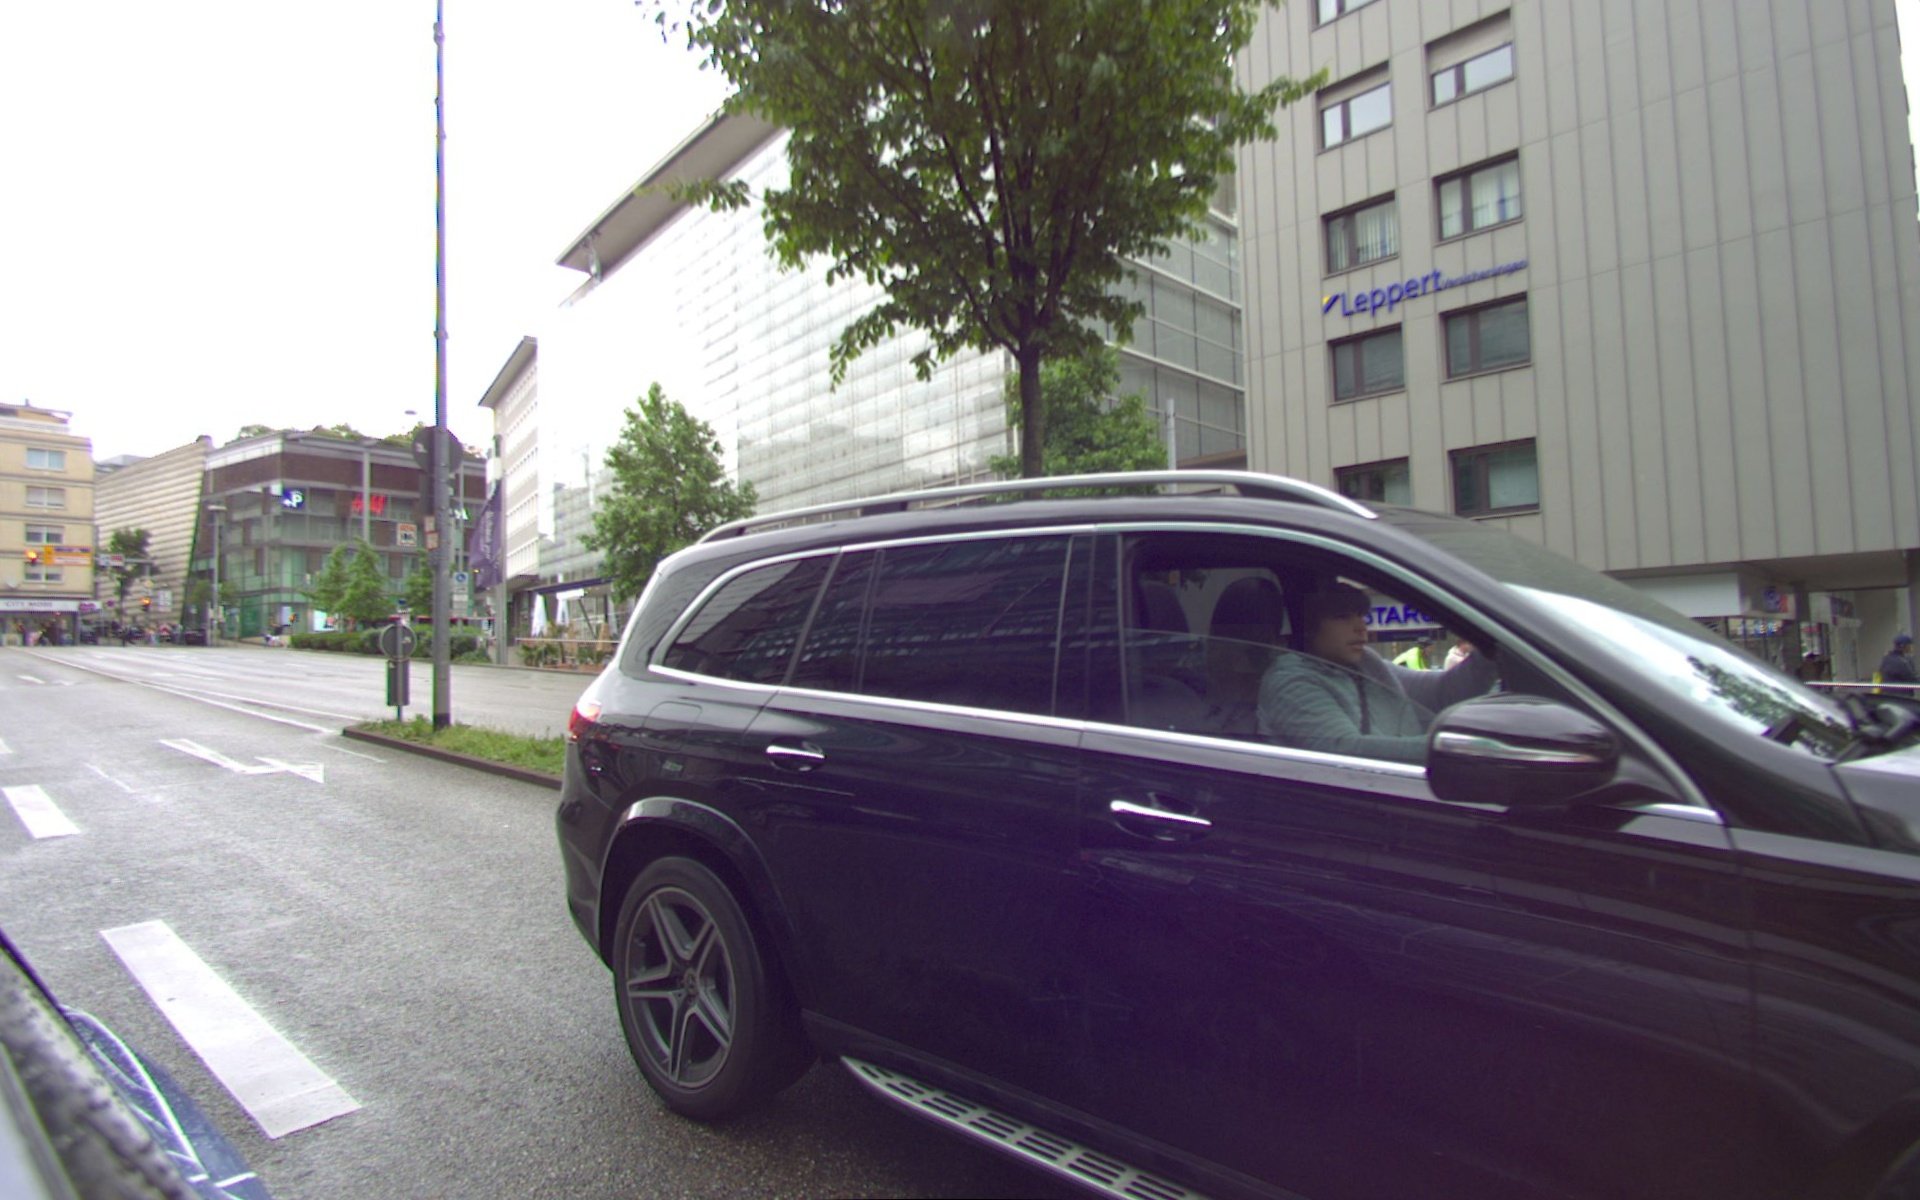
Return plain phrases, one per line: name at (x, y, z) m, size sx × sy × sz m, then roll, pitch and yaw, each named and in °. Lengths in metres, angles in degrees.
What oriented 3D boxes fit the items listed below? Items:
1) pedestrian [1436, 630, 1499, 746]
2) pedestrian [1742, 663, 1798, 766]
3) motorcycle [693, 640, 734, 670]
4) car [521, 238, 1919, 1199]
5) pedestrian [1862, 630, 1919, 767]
pedestrian at (8.264, 1.405, 16.489) m, size 0.543 × 1.797 × 0.752 m, roll 0°, pitch 0°, yaw -37°
pedestrian at (14.299, 1.994, 17.860) m, size 0.709 × 1.693 × 0.740 m, roll 0°, pitch 0°, yaw 43°
motorcycle at (-11.016, 2.460, 45.279) m, size 0.620 × 1.336 × 1.685 m, roll -1°, pitch -3°, yaw 41°
car at (0.963, 0.519, 2.586) m, size 5.072 × 1.884 × 1.891 m, roll 0°, pitch 0°, yaw 42°
pedestrian at (12.212, 1.244, 12.932) m, size 0.963 × 1.693 × 0.700 m, roll 0°, pitch 0°, yaw 38°
